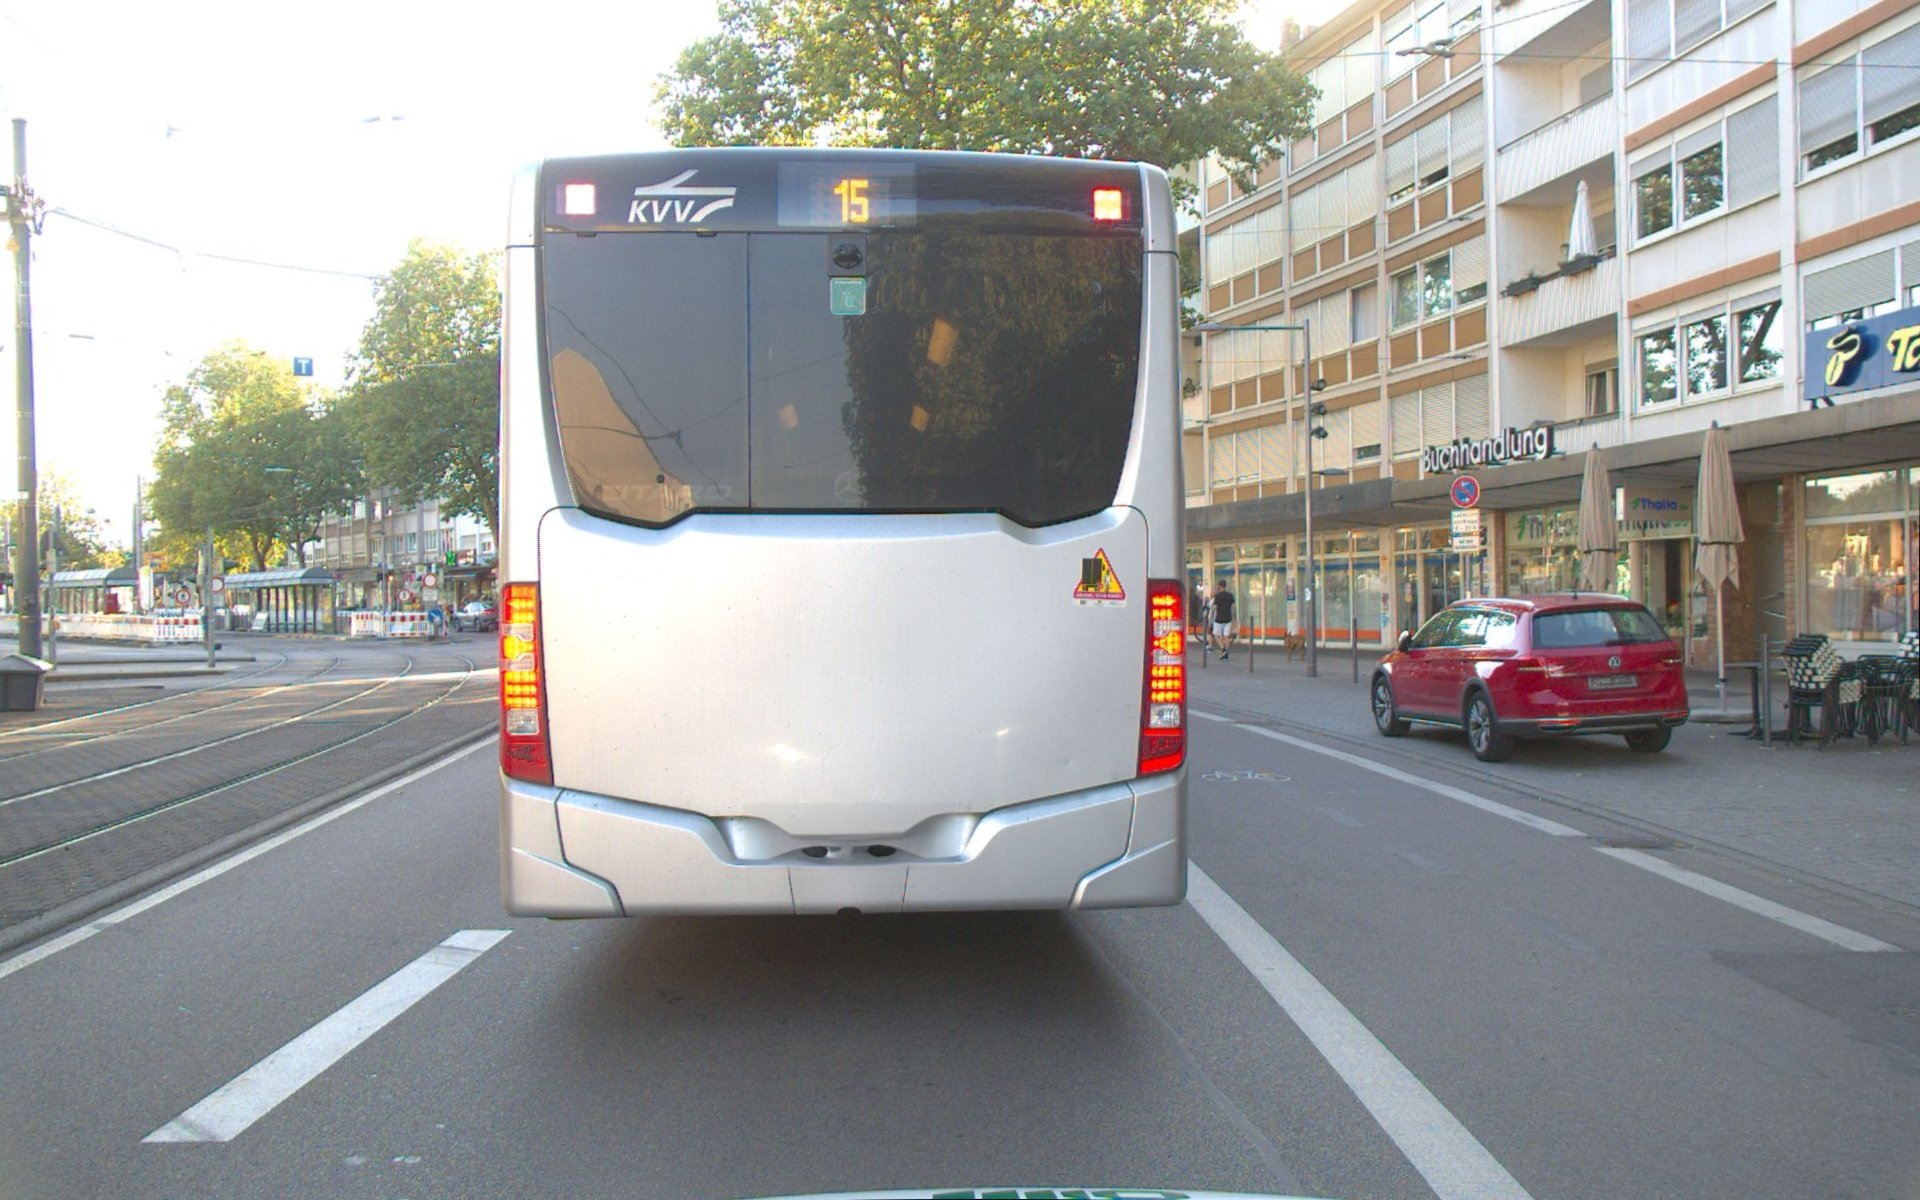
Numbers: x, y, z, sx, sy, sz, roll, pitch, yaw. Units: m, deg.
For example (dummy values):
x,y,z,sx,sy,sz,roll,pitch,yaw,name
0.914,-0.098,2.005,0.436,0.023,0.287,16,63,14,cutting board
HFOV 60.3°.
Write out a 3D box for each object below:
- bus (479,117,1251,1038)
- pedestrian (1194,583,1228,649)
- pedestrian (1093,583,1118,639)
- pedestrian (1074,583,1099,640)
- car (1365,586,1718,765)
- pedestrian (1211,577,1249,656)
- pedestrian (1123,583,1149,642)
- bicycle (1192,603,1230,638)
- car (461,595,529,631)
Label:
x,y,z,sx,sy,sz,roll,pitch,yaw,name
-0.395,-0.071,10.566,2.577,3.081,9.995,0,0,-1,bus
6.148,0.390,40.480,0.634,1.609,0.557,-1,0,-17,pedestrian
4.413,0.324,50.045,0.527,1.677,0.612,-1,0,-18,pedestrian
3.789,0.336,49.422,0.527,1.677,0.612,-1,0,-18,pedestrian
5.663,0.659,16.735,1.735,1.508,4.299,-2,0,-5,car
6.013,0.367,36.815,0.634,1.747,0.557,-1,0,-17,pedestrian
5.094,0.362,47.934,0.527,1.677,0.612,-1,0,-18,pedestrian
7.055,0.566,46.485,0.406,0.961,1.431,-1,0,-21,bicycle
-24.690,0.687,87.706,1.982,1.823,3.940,1,-1,-41,car
